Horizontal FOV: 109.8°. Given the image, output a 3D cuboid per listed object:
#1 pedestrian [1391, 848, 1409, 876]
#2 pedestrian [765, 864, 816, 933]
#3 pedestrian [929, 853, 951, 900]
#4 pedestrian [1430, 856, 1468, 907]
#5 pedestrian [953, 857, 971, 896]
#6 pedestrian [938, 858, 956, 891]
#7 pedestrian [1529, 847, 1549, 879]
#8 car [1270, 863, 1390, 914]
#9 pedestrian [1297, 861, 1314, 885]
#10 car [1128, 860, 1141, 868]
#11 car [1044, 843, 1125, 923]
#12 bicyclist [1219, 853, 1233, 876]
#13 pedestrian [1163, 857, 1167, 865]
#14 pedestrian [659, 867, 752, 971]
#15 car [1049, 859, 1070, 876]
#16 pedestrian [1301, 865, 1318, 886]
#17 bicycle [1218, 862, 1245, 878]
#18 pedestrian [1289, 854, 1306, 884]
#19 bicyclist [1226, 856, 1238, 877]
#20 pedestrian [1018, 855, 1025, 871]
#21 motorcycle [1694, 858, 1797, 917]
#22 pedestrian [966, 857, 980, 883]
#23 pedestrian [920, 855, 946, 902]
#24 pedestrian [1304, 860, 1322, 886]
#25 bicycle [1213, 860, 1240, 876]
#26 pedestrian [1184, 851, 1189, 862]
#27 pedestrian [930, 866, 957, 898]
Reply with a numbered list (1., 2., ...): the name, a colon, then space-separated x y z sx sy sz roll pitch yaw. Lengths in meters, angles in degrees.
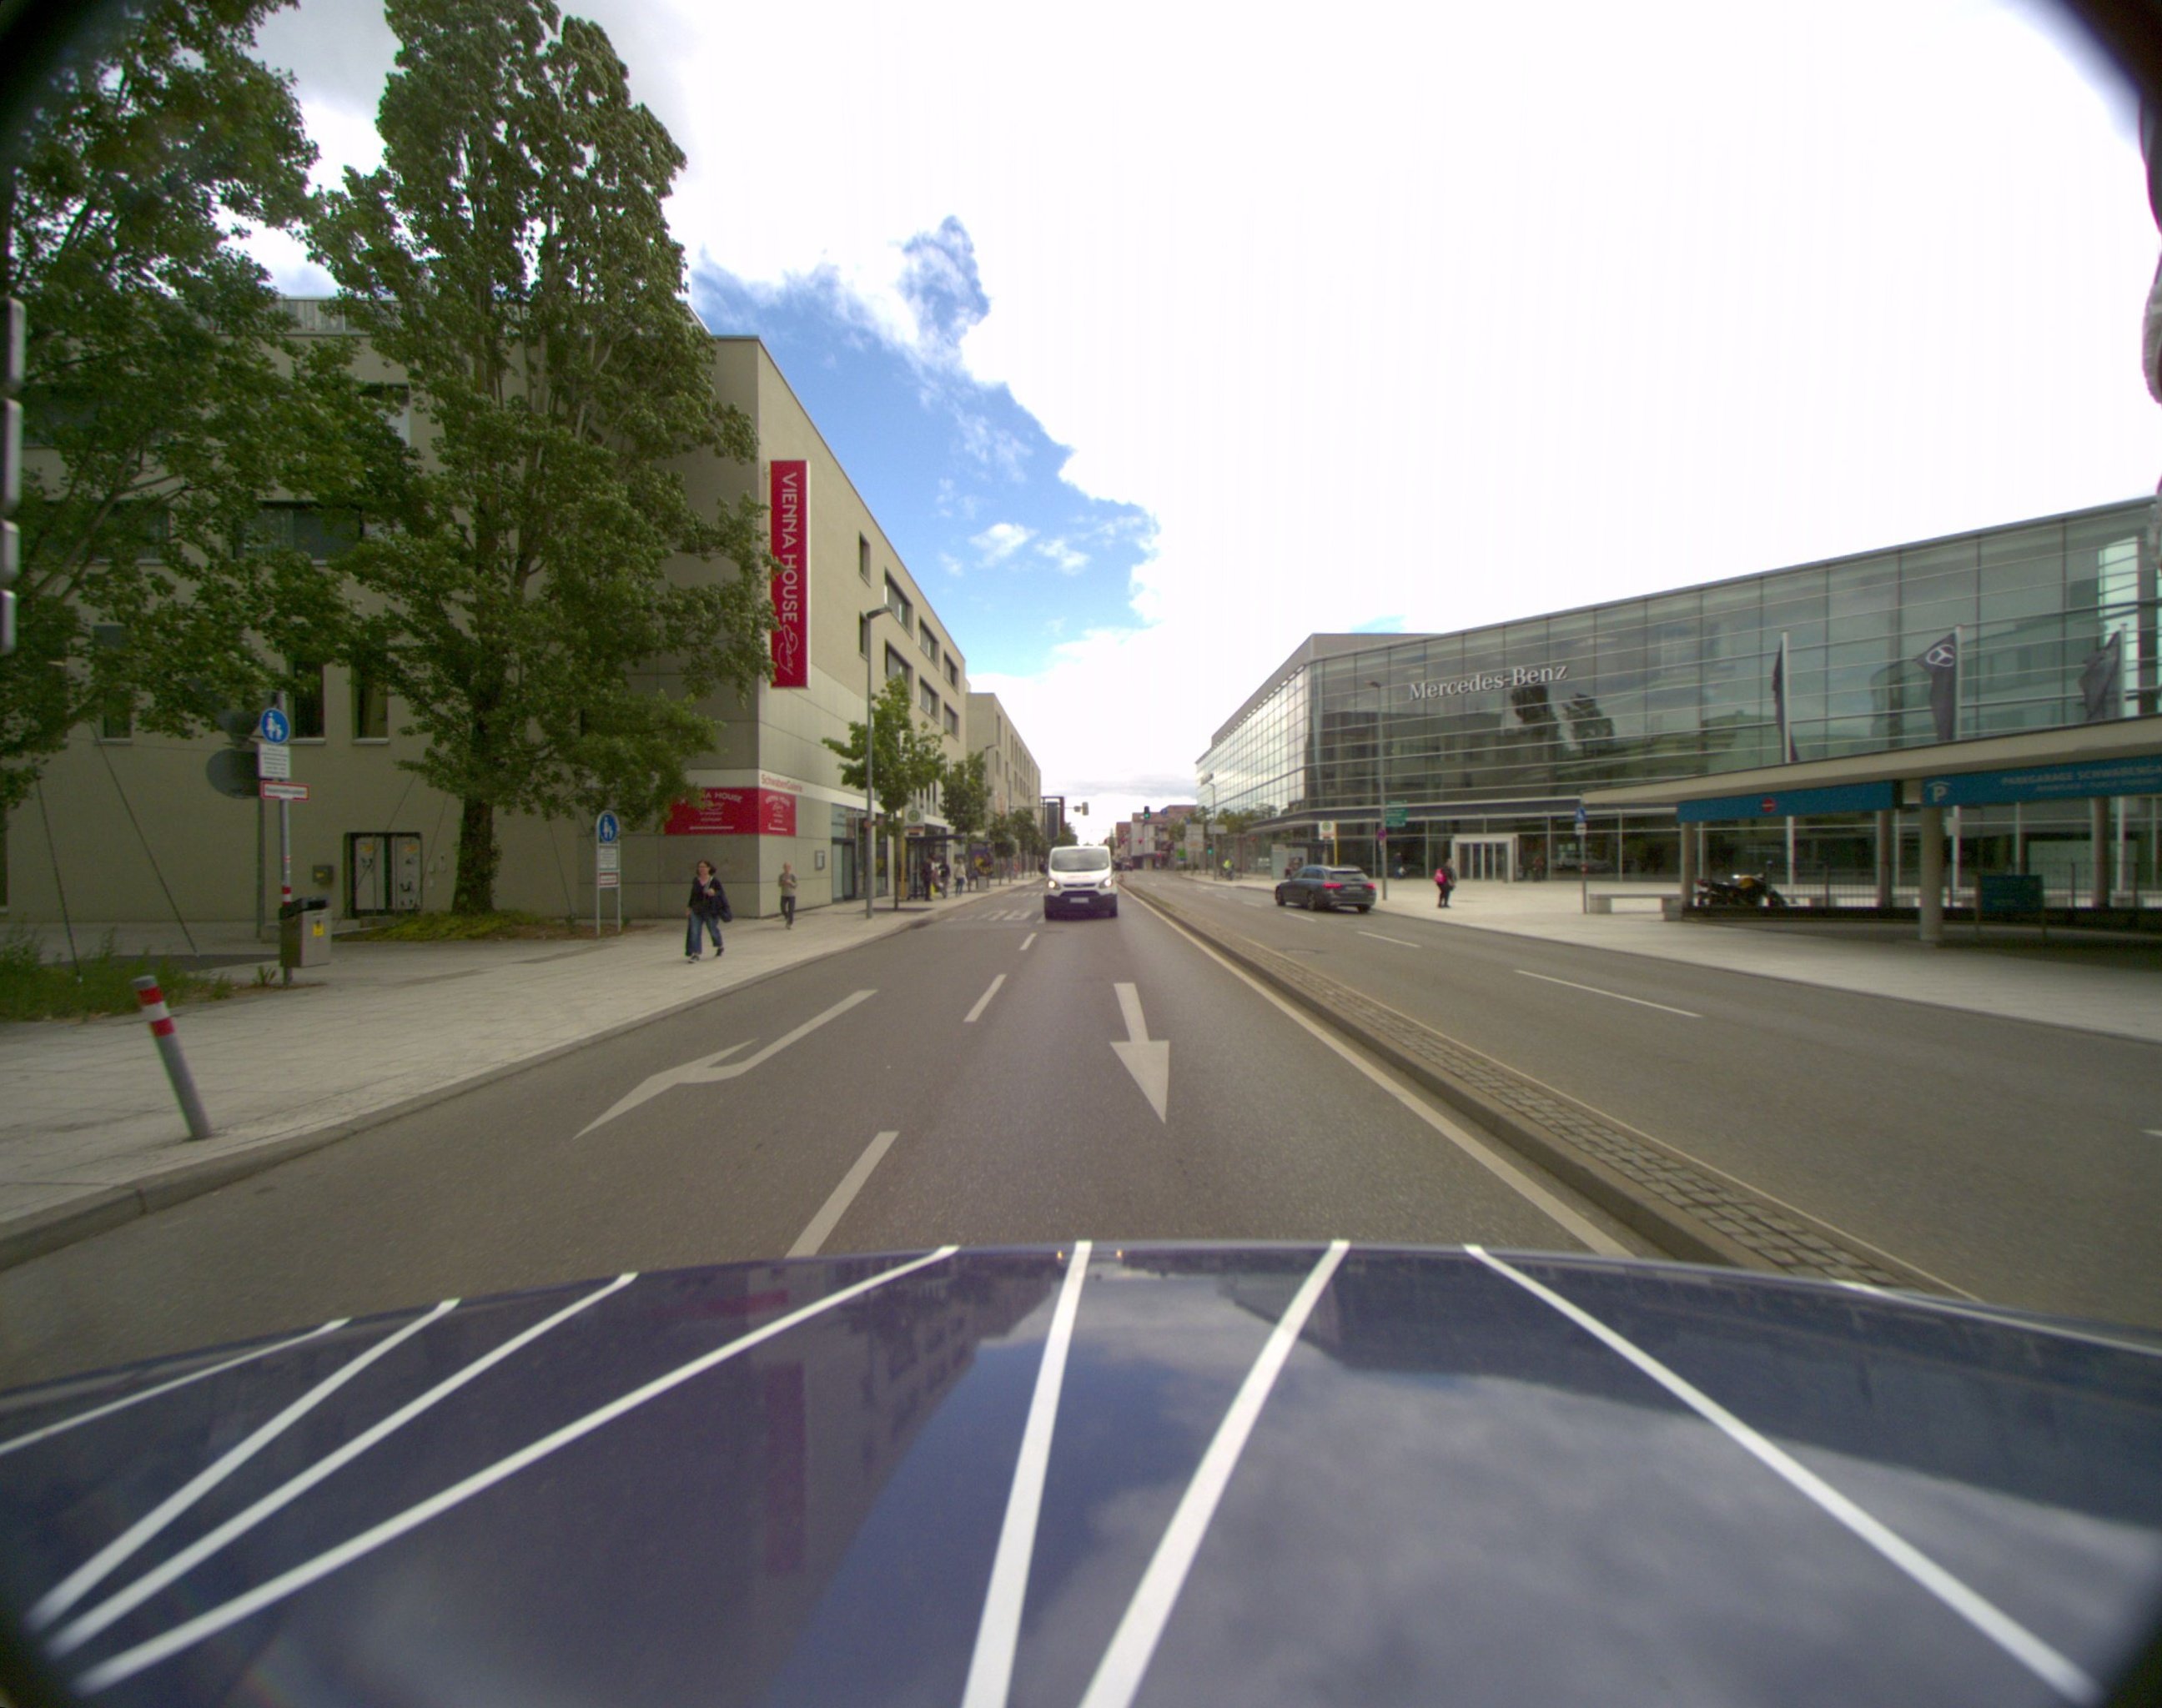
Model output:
1. pedestrian: 21.919 0.540 52.131 0.904 1.934 0.748 -2 1 -38
2. pedestrian: -6.791 1.023 17.800 0.871 1.574 0.804 0 1 0
3. pedestrian: -5.379 0.837 28.978 0.580 1.759 0.857 1 1 6
4. pedestrian: 11.642 0.868 24.050 0.832 1.558 0.813 -2 0 6
5. pedestrian: -4.921 0.937 31.479 0.580 1.581 0.733 1 1 6
6. pedestrian: -6.640 0.995 37.684 0.742 1.599 0.715 0 0 1
7. pedestrian: 27.972 0.566 46.369 0.687 1.934 0.749 -2 1 -12
8. car: 7.898 1.033 24.591 1.902 1.407 4.468 -2 0 -8
9. pedestrian: 11.912 1.019 40.339 0.686 1.246 0.576 0 0 -1
10. car: 9.385 1.774 133.516 1.803 1.458 3.998 0 0 -5
11. car: 0.120 0.734 22.041 2.000 1.976 5.001 -2 0 1
12. bicyclist: 11.866 0.854 62.141 0.772 1.789 0.749 -2 1 45
13. pedestrian: 16.115 1.348 145.317 0.555 1.507 0.582 0 0 -32
14. pedestrian: -5.988 1.012 12.181 0.949 1.574 1.016 0 1 0
15. car: -1.905 1.233 69.943 1.787 1.417 4.514 -1 0 0
16. pedestrian: 11.939 1.098 39.723 0.686 1.069 0.576 1 0 -1
17. bicycle: 11.734 1.231 59.143 2.002 1.124 0.639 -3 0 16
18. pedestrian: 11.663 0.815 40.958 0.688 1.622 0.574 0 1 -40
19. bicyclist: 11.752 0.976 59.125 0.783 1.639 0.639 -3 0 16
20. pedestrian: -6.060 0.934 77.806 0.590 1.558 0.732 1 0 1
21. motorcycle: 16.215 0.810 18.571 1.858 1.325 0.636 -2 1 4
22. pedestrian: -6.972 1.054 49.139 0.746 1.659 0.614 0 0 1
23. pedestrian: -5.373 0.871 27.555 0.722 1.674 0.733 1 1 6
24. pedestrian: 11.929 0.969 39.051 0.686 1.312 0.576 1 0 -1
25. bicycle: 11.870 1.167 62.132 2.025 1.199 0.749 -3 0 45
26. pedestrian: 15.605 0.348 112.654 0.702 1.614 0.693 0 0 1
27. pedestrian: -5.400 1.101 29.914 0.945 1.252 0.732 0 1 -2
